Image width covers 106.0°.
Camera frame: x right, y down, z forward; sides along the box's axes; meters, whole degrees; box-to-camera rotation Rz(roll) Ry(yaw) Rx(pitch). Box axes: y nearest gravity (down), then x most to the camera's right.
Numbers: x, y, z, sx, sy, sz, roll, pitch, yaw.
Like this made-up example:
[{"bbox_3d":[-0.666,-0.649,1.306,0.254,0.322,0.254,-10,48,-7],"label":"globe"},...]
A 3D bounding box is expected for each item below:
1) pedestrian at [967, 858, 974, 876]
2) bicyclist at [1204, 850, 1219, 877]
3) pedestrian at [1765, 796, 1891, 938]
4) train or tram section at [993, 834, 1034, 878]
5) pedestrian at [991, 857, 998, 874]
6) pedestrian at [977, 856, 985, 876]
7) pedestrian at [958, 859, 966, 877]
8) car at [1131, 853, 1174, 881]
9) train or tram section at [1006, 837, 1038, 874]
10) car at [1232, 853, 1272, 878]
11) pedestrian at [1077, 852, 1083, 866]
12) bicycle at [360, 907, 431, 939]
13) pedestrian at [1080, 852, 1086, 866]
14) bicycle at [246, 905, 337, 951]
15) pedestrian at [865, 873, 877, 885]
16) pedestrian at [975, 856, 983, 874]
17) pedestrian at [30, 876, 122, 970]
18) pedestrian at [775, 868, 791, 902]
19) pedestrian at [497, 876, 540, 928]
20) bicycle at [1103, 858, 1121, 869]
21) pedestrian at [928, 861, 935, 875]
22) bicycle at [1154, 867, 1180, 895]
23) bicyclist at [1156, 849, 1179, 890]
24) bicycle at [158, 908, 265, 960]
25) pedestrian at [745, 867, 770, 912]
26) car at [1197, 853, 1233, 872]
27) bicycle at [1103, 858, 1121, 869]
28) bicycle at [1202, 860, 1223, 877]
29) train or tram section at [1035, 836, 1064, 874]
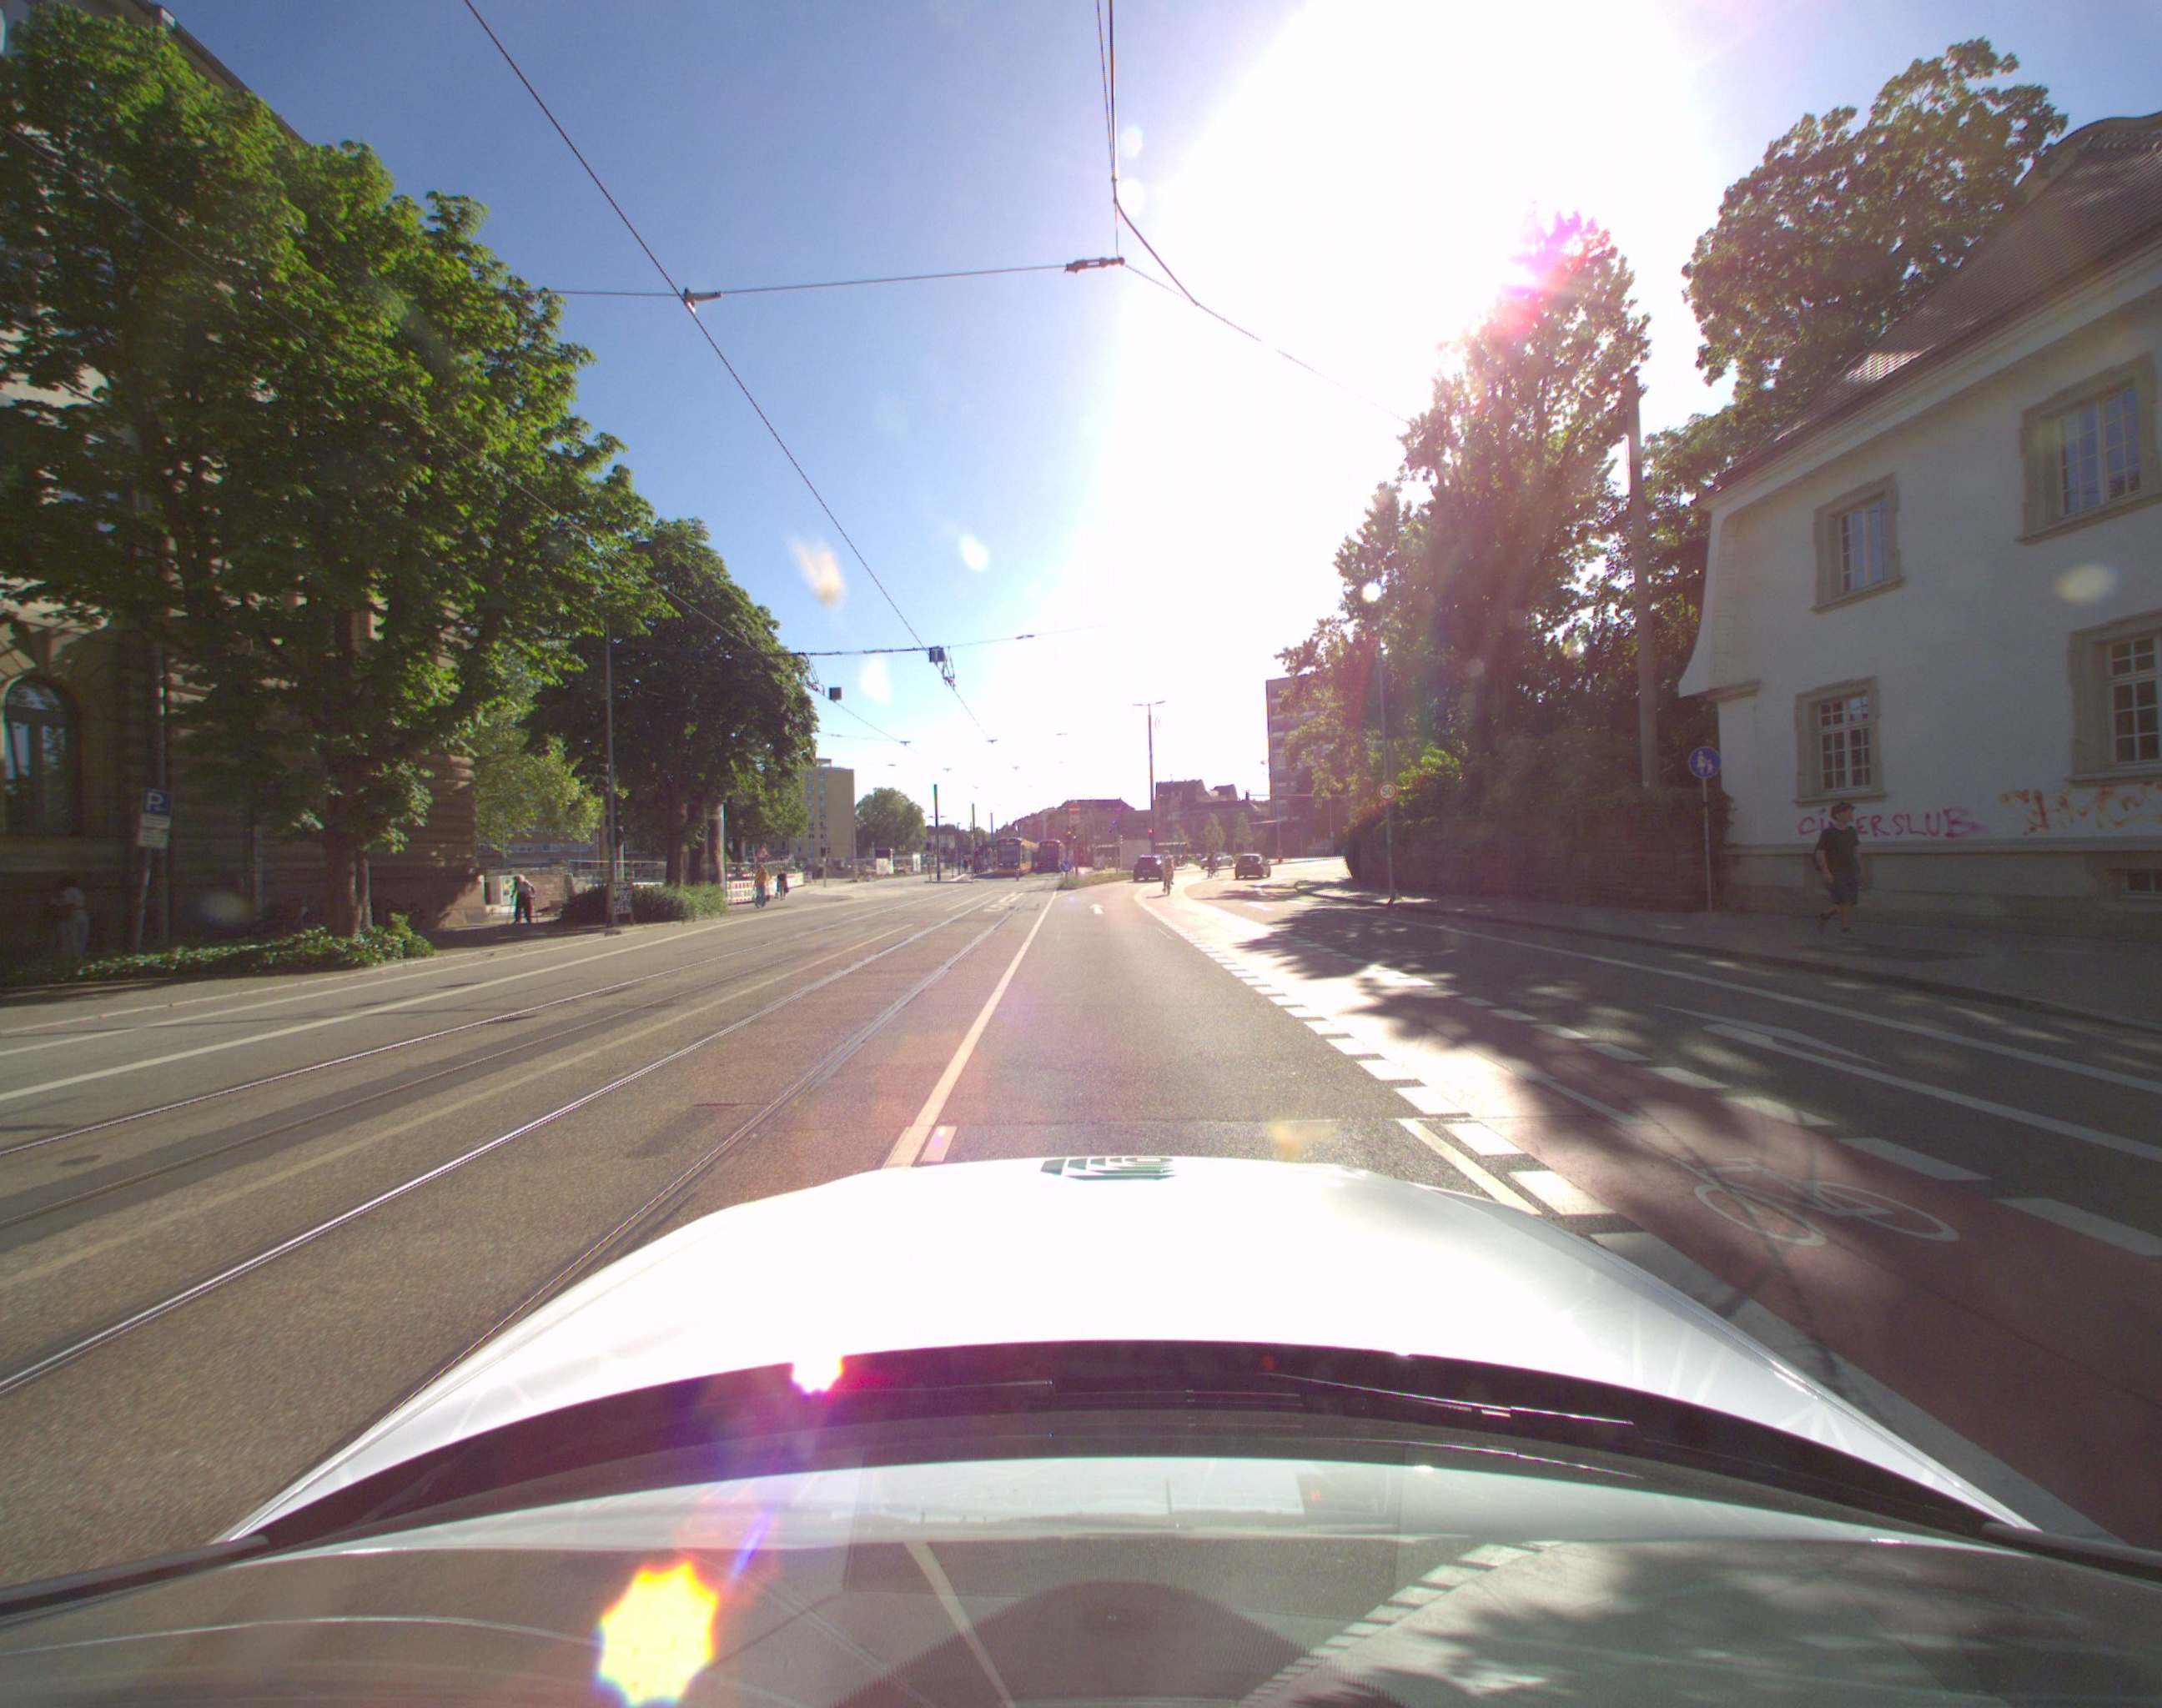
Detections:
[{"bbox_3d":[-11.291,1.324,83.228,0.625,1.827,0.662,-2,-1,-2],"label":"pedestrian"},{"bbox_3d":[8.368,0.595,52.170,0.698,1.700,0.992,0,1,24],"label":"bicyclist"},{"bbox_3d":[10.727,0.185,11.743,0.635,1.903,1.134,-4,0,1],"label":"pedestrian"},{"bbox_3d":[-6.121,0.158,76.043,2.734,3.651,13.778,-2,0,-1],"label":"train or tram section"},{"bbox_3d":[-9.253,1.209,87.374,0.625,1.827,0.662,-2,-1,-2],"label":"pedestrian"},{"bbox_3d":[-9.231,1.143,75.328,0.625,1.827,0.662,-2,-1,-2],"label":"pedestrian"},{"bbox_3d":[-12.200,1.401,83.667,0.625,1.827,0.662,-2,-1,-2],"label":"pedestrian"},{"bbox_3d":[4.387,0.745,49.499,1.774,1.604,3.730,-1,0,18],"label":"car"},{"bbox_3d":[-6.340,0.157,89.219,2.734,3.651,12.537,-2,0,-1],"label":"train or tram section"},{"bbox_3d":[10.690,0.683,50.818,1.773,1.511,3.733,-1,0,22],"label":"car"},{"bbox_3d":[-0.116,0.708,116.429,0.661,1.953,0.626,-2,-1,-12],"label":"pedestrian"},{"bbox_3d":[-18.274,1.818,21.743,0.479,0.725,1.620,-2,-1,1],"label":"bicycle"},{"bbox_3d":[0.272,0.719,118.533,0.661,1.953,0.626,-2,-1,-12],"label":"pedestrian"},{"bbox_3d":[-18.217,1.687,18.836,0.479,0.917,1.620,-2,-1,1],"label":"bicycle"},{"bbox_3d":[-19.003,2.247,73.568,0.894,1.046,0.655,-2,-1,0],"label":"pedestrian"},{"bbox_3d":[-10.084,1.089,80.301,0.625,1.827,0.662,-2,-1,-2],"label":"pedestrian"},{"bbox_3d":[-18.244,1.228,14.799,0.698,1.635,0.759,0,-1,-1],"label":"pedestrian"},{"bbox_3d":[-15.386,1.591,42.064,0.619,1.697,0.676,-2,-1,-13],"label":"pedestrian"},{"bbox_3d":[-17.194,1.444,24.915,0.924,1.504,0.700,-2,-1,-23],"label":"pedestrian"},{"bbox_3d":[3.477,1.068,92.115,1.929,1.103,0.598,-2,0,-3],"label":"bicycle"},{"bbox_3d":[-18.853,1.723,102.611,0.625,1.697,0.662,-2,-1,-2],"label":"pedestrian"},{"bbox_3d":[3.577,1.107,33.767,0.699,1.104,1.725,0,0,19],"label":"bicycle"},{"bbox_3d":[3.572,0.638,33.768,0.699,1.675,1.107,0,0,19],"label":"bicyclist"},{"bbox_3d":[-18.191,1.655,17.090,0.479,0.917,1.620,-2,-1,1],"label":"bicycle"},{"bbox_3d":[-12.839,1.397,32.318,0.635,1.697,0.817,-3,-1,-6],"label":"pedestrian"},{"bbox_3d":[11.802,0.753,71.699,1.685,1.643,3.736,-1,0,35],"label":"car"},{"bbox_3d":[3.503,1.060,91.346,1.929,1.103,0.598,-2,0,-3],"label":"bicycle"},{"bbox_3d":[8.472,0.920,52.404,0.698,1.055,2.327,0,1,24],"label":"bicycle"},{"bbox_3d":[-3.338,0.099,88.890,2.734,3.651,13.778,-2,0,-1],"label":"train or tram section"}]
